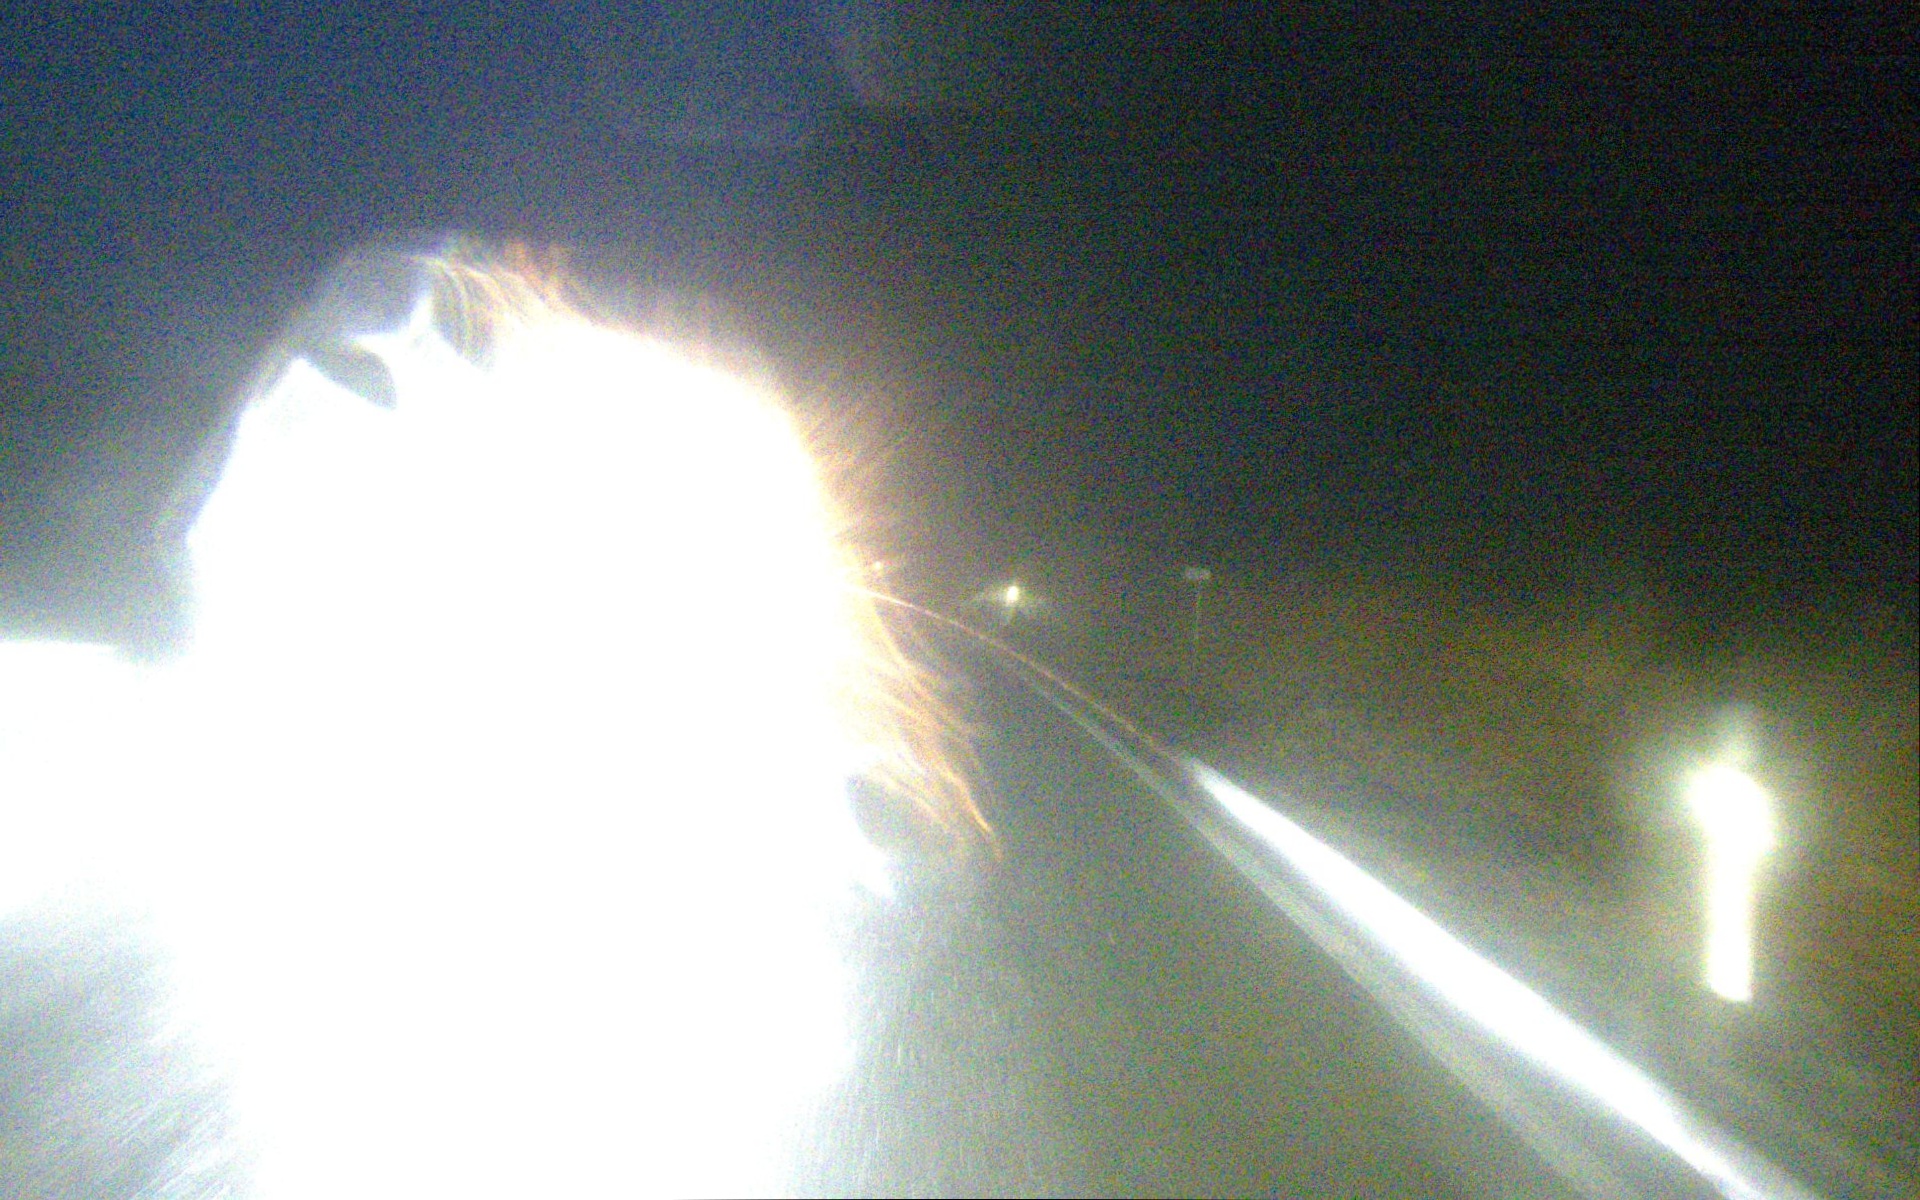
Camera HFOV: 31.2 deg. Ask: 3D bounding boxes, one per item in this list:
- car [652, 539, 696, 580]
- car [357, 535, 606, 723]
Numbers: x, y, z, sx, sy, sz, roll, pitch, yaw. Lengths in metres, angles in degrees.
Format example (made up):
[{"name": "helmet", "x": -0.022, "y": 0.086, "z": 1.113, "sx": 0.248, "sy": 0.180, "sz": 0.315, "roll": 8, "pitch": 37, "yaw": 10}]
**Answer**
[{"name": "car", "x": -11.965, "y": -1.707, "z": 143.981, "sx": 1.771, "sy": 1.669, "sz": 4.055, "roll": 1, "pitch": 1, "yaw": -5}, {"name": "car", "x": -4.202, "y": 0.226, "z": 30.736, "sx": 1.817, "sy": 1.550, "sz": 3.872, "roll": -1, "pitch": 1, "yaw": -2}]
